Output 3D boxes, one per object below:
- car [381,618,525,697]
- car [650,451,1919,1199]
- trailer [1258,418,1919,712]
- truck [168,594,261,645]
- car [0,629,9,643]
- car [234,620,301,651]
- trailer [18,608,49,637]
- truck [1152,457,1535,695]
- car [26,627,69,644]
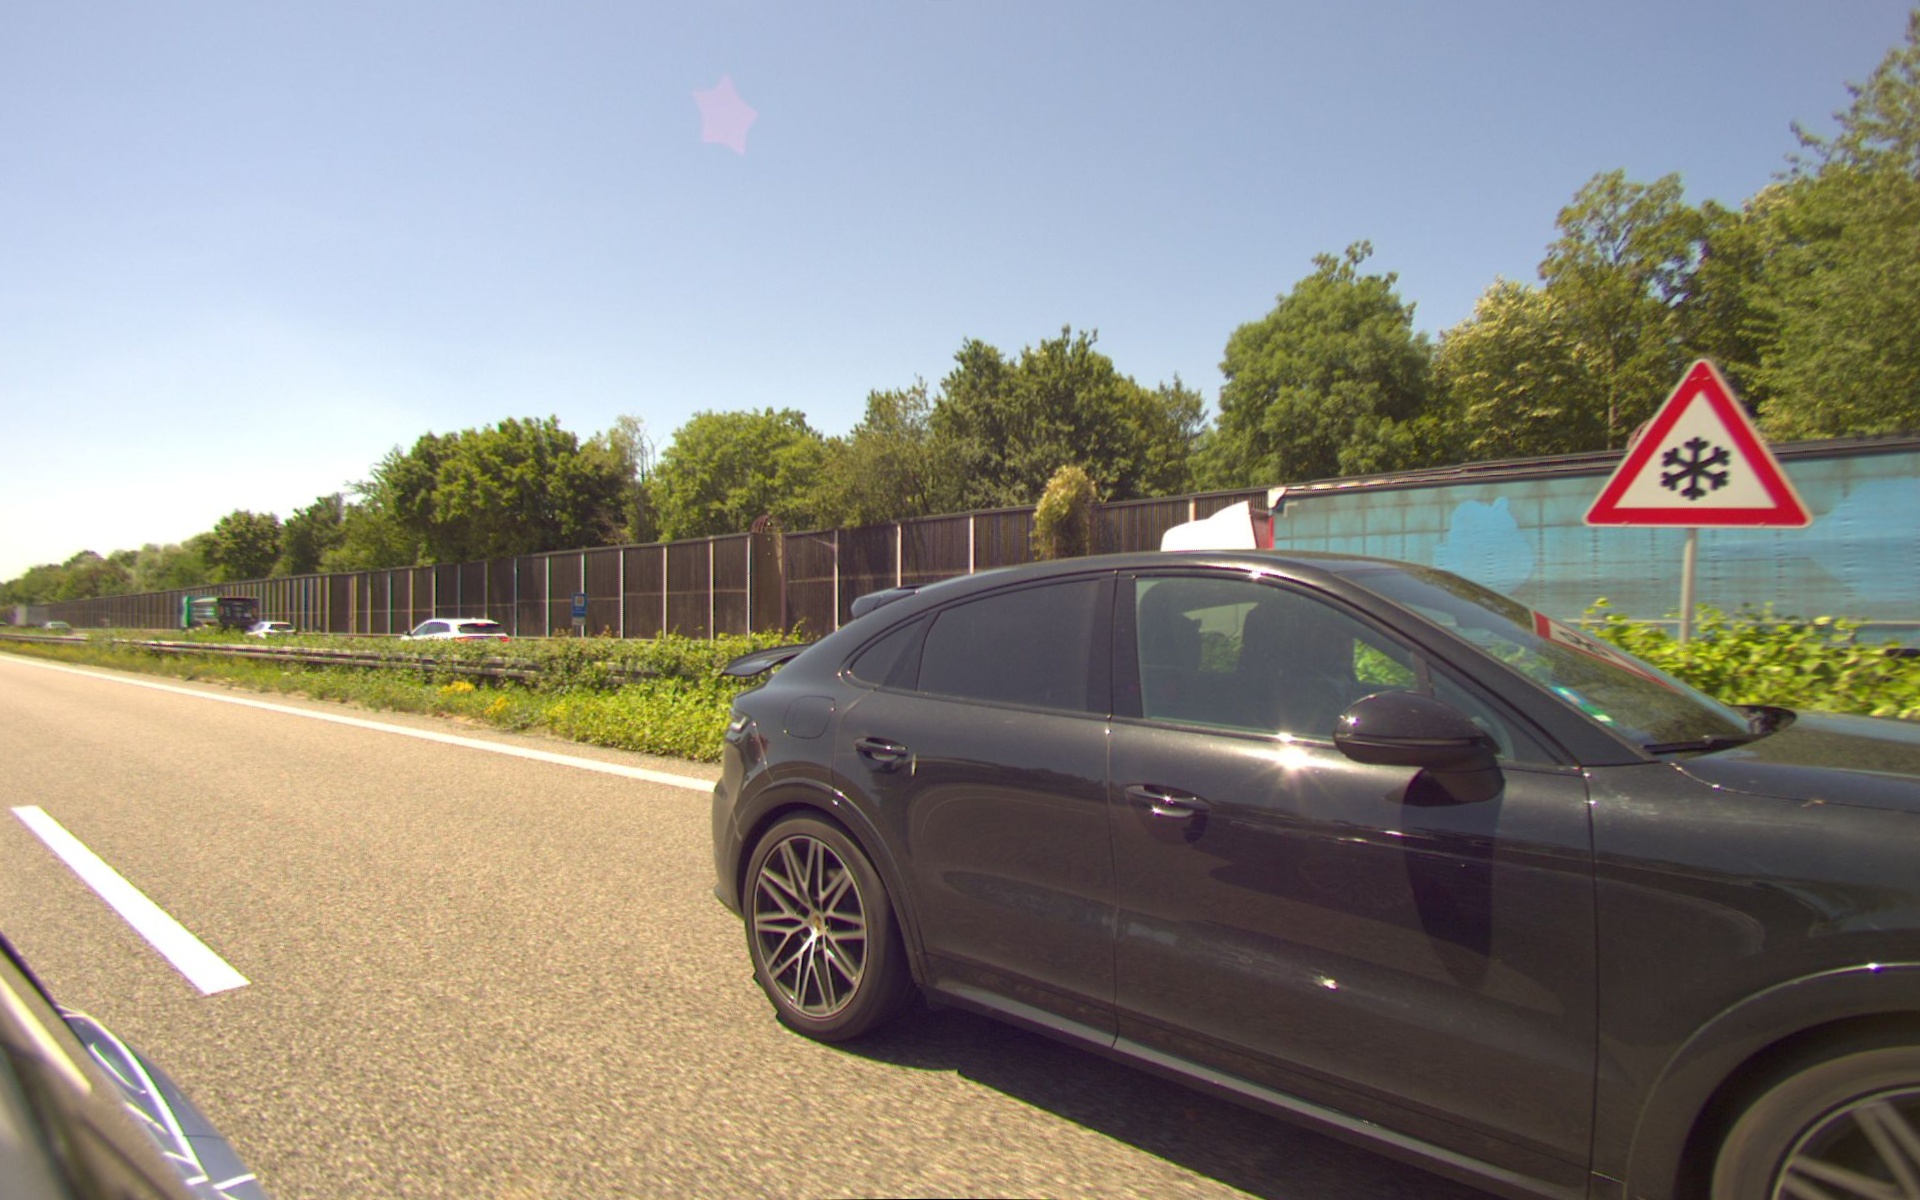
[{"bbox_3d":[-14.631,1.580,29.080,4.893,2.029,1.973,-1,0,41],"label":"car"},{"bbox_3d":[1.573,0.609,2.902,5.769,1.637,2.022,-2,-2,42],"label":"car"},{"bbox_3d":[12.236,-0.440,16.524,14.295,4.052,2.707,-1,-1,41],"label":"trailer"},{"bbox_3d":[-57.691,1.553,78.159,12.360,3.703,3.058,-1,-2,41],"label":"truck"},{"bbox_3d":[-102.497,3.791,107.345,4.457,1.457,1.937,-1,-2,41],"label":"car"},{"bbox_3d":[-37.627,1.925,54.951,4.490,1.602,1.973,-1,-2,41],"label":"car"},{"bbox_3d":[-139.487,3.396,152.278,14.273,4.118,2.468,-1,-3,44],"label":"trailer"},{"bbox_3d":[7.567,-0.356,20.530,6.729,4.052,2.730,-1,-1,40],"label":"truck"},{"bbox_3d":[-80.907,3.139,89.701,5.076,1.452,1.848,-1,-2,37],"label":"car"}]
